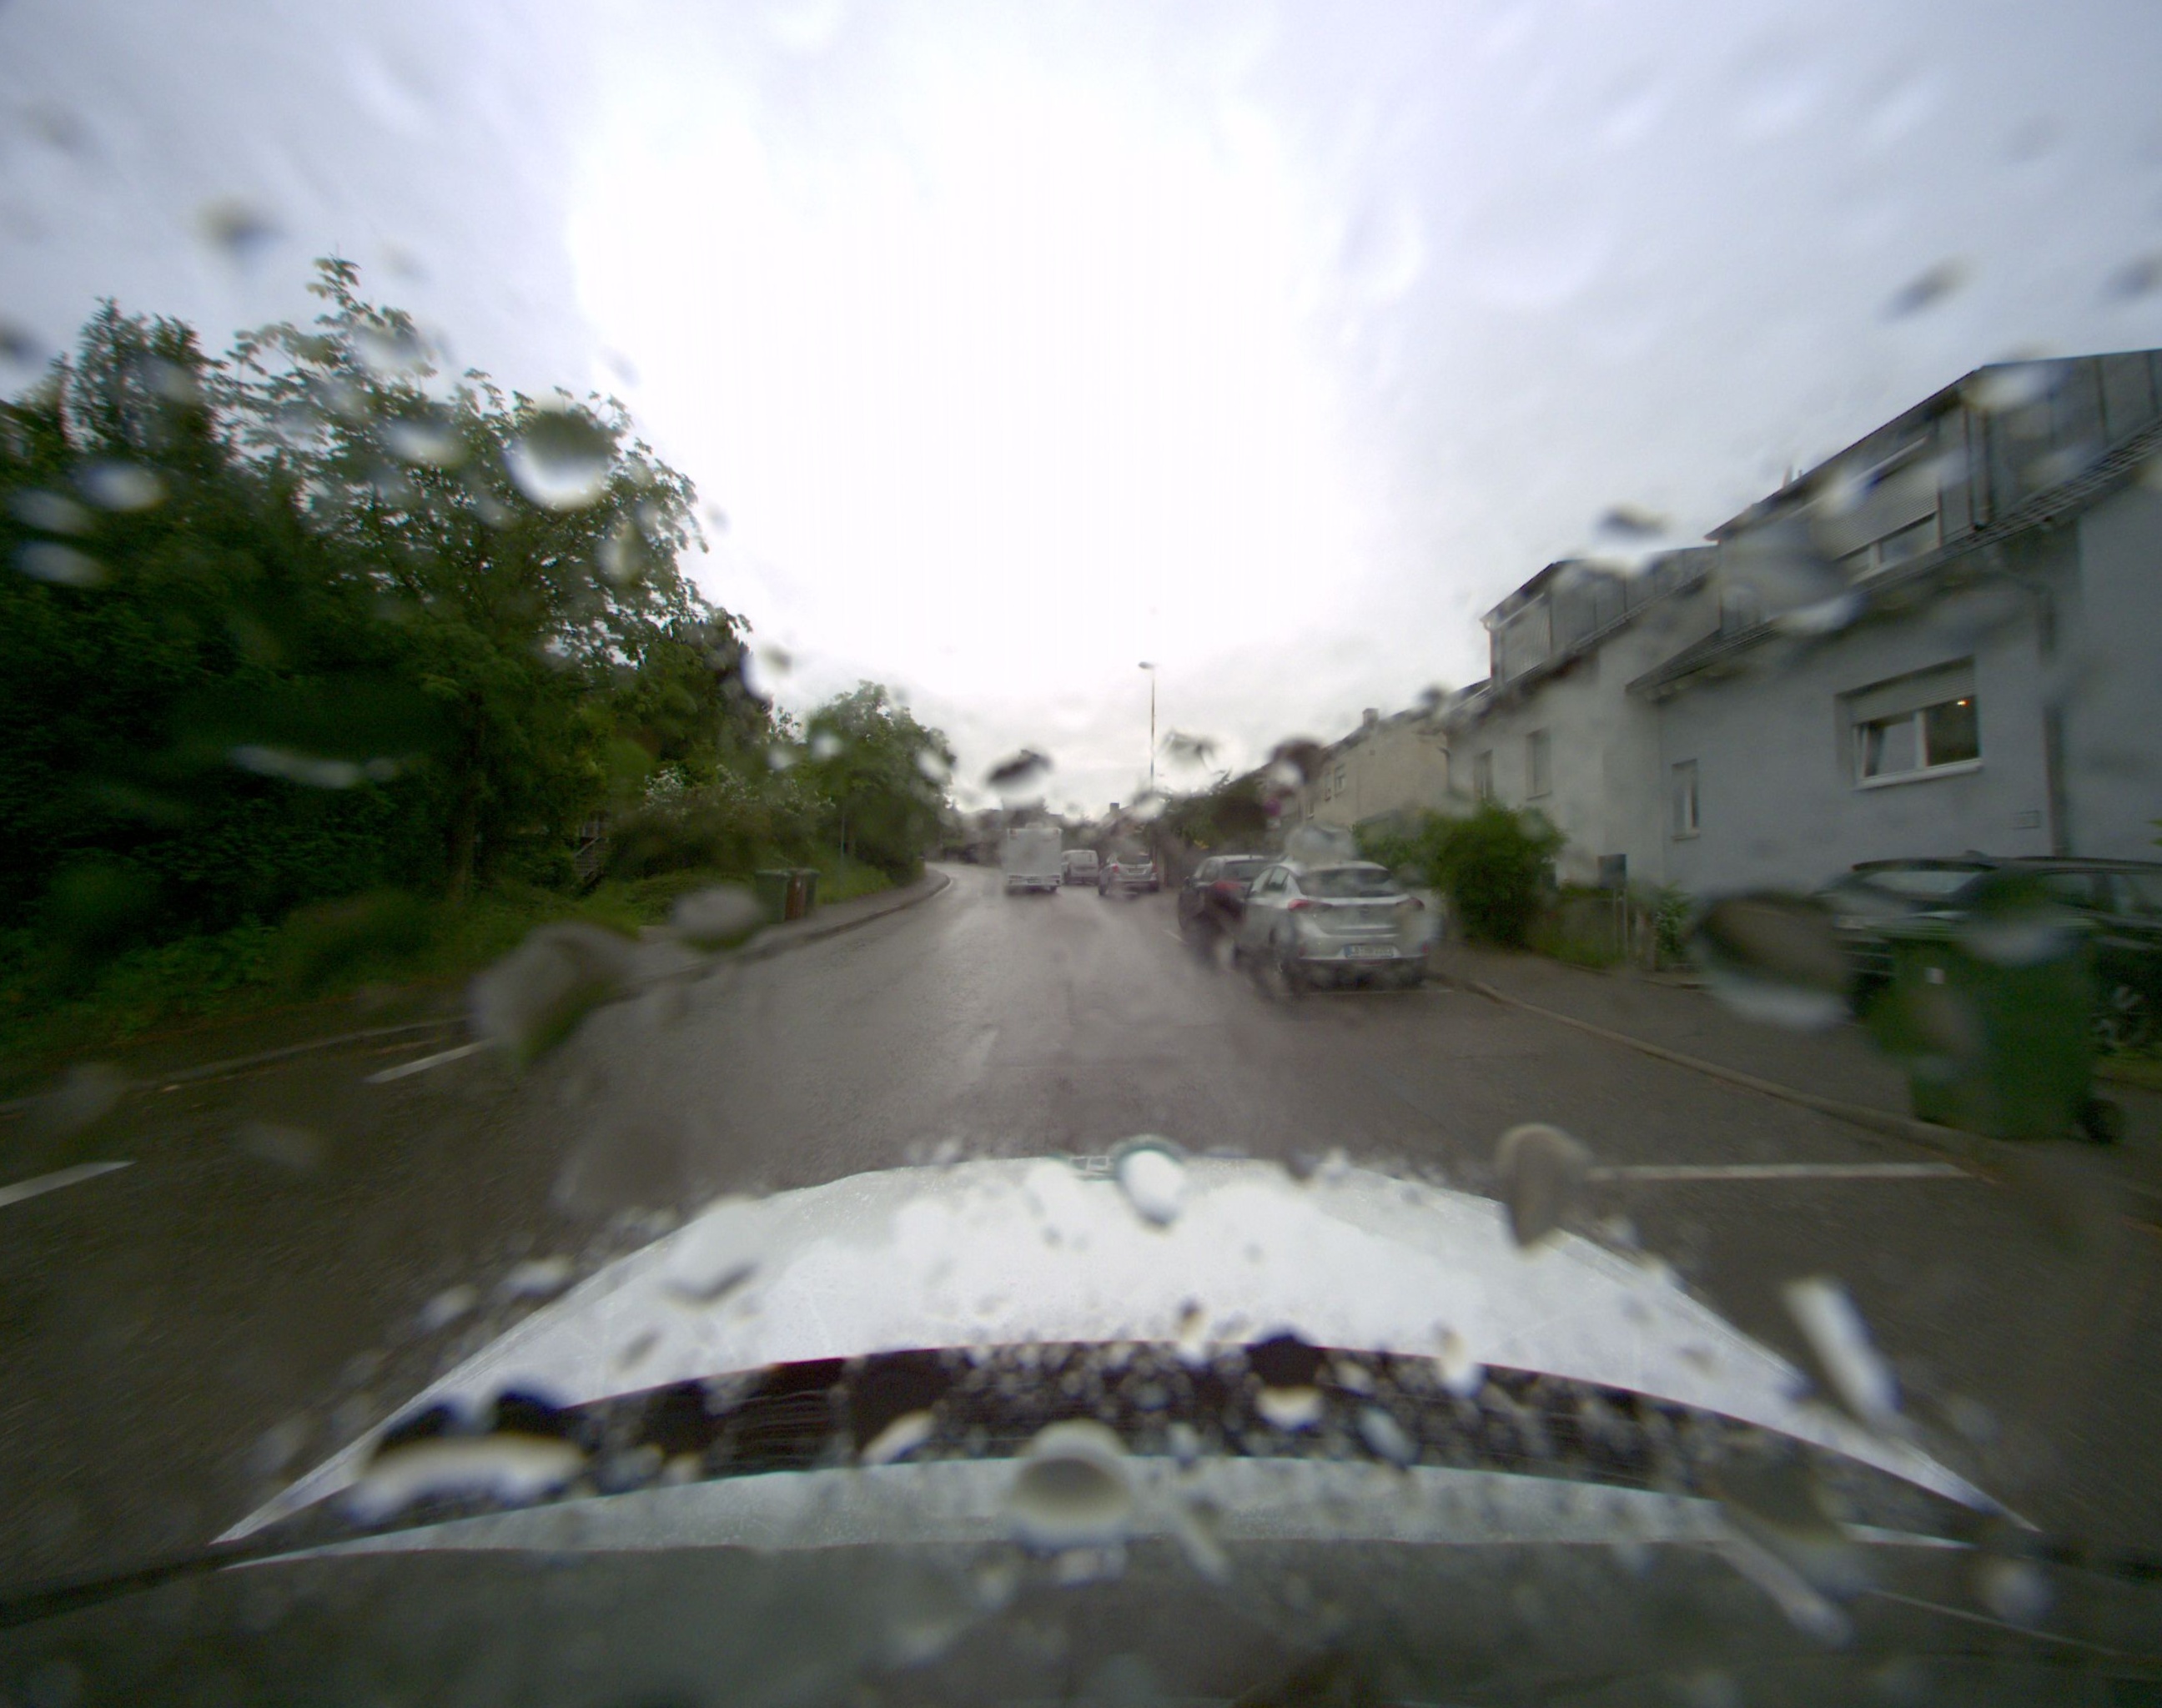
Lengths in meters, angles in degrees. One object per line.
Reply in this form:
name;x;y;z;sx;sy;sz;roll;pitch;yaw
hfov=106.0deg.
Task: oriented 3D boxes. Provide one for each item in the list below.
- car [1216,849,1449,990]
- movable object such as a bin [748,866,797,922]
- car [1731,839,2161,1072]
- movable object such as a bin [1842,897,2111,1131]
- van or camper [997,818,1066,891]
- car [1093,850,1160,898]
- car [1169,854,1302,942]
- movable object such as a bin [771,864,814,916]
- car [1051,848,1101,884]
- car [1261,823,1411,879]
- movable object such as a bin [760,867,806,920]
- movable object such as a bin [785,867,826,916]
car;3.059;0.700;10.884;1.763;1.467;4.234;-2;0;0
movable object such as a bin;-6.267;0.798;16.570;0.768;1.096;0.736;-1;0;-8
car;8.049;0.839;6.561;3.976;1.442;1.999;6;-1;-1
movable object such as a bin;4.544;0.774;4.181;0.673;1.068;0.645;0;0;0
van or camper;-2.273;0.042;35.440;2.539;2.925;5.930;0;0;-8
car;1.632;0.697;30.620;1.802;1.626;4.278;-2;0;-6
car;2.901;0.765;16.071;1.656;1.467;3.758;-2;0;-4
movable object such as a bin;-6.391;0.788;18.059;0.768;1.096;0.670;-1;0;-8
car;-0.314;0.599;43.443;1.780;1.803;4.688;0;0;-12
car;7.682;-0.068;24.814;3.975;1.590;1.934;0;-1;-1
movable object such as a bin;-6.327;0.824;17.317;0.768;1.096;0.736;-1;0;-8
movable object such as a bin;-6.340;0.854;18.793;0.768;1.068;0.689;-1;0;-8
